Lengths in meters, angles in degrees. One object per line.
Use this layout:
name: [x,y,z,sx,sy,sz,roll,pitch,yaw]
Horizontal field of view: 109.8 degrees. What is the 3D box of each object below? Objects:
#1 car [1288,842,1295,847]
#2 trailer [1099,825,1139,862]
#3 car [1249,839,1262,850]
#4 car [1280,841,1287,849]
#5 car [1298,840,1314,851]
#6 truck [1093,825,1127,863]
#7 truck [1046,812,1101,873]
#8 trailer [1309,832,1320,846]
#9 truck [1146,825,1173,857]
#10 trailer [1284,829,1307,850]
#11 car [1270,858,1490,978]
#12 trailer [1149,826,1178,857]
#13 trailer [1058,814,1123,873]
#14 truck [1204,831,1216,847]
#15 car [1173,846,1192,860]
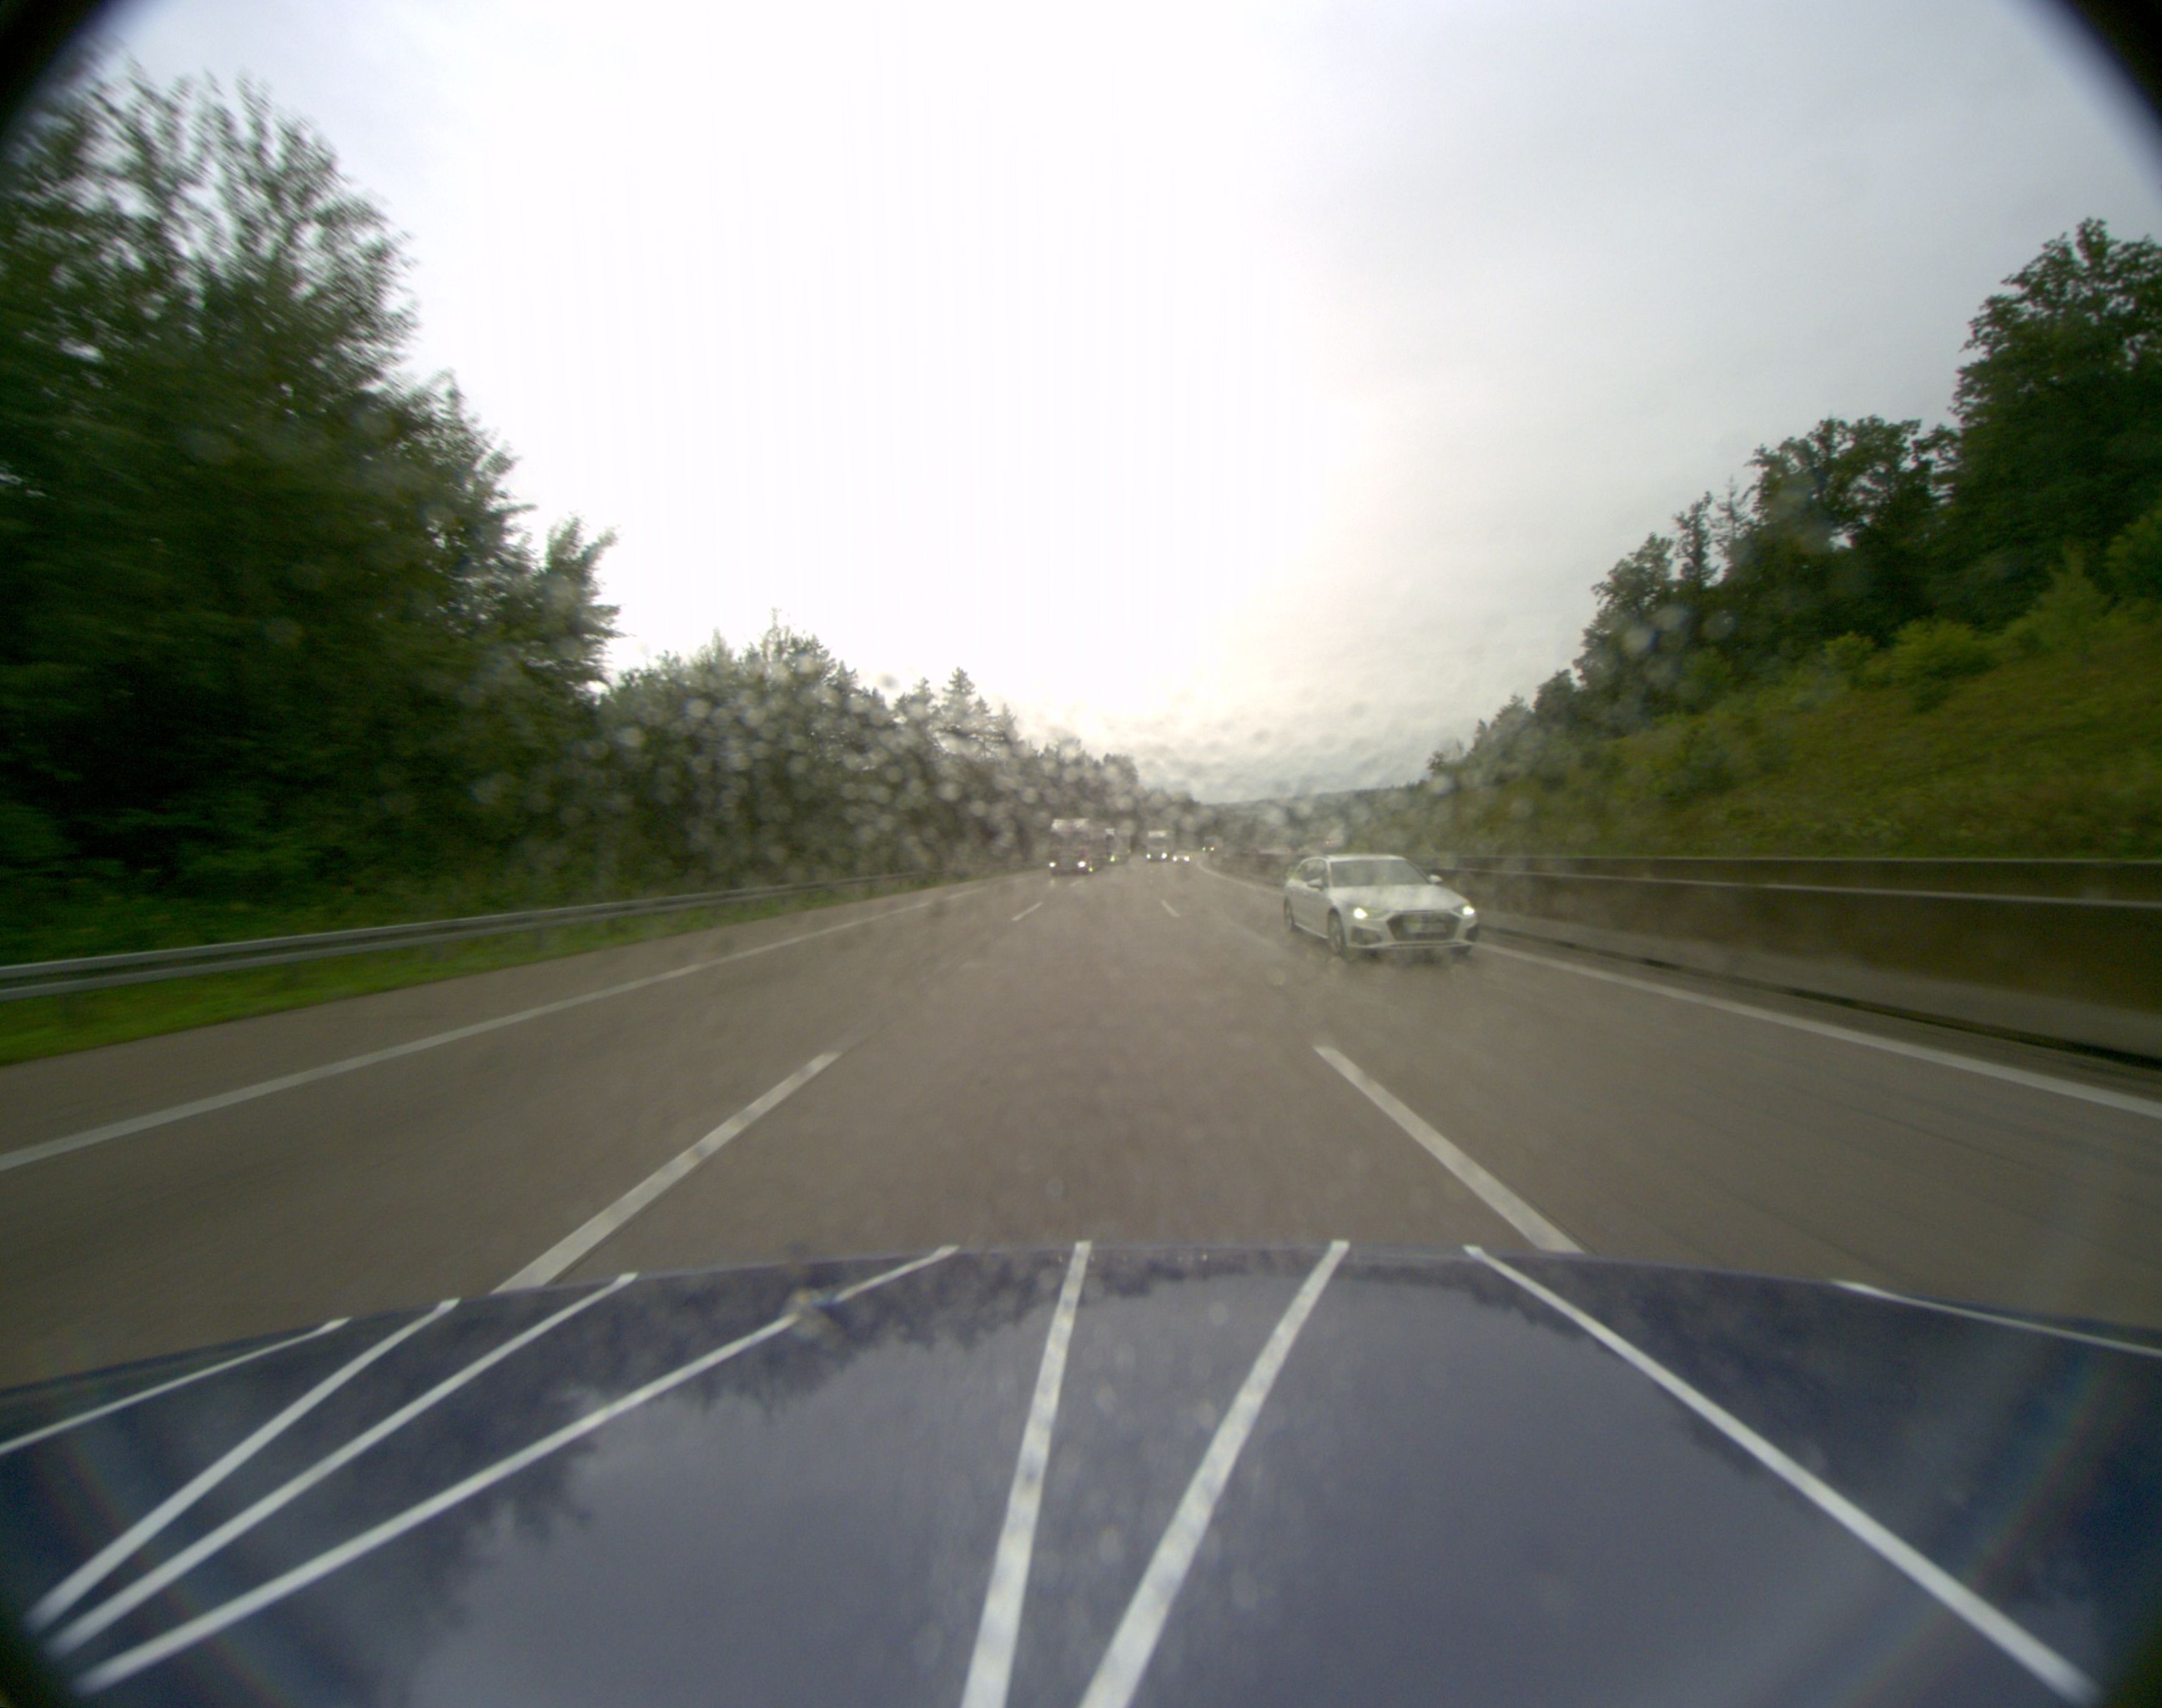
car: [67.816,-3.166,244.875,1.732,1.484,4.006,-1,1,21]
trailer: [4.757,-1.273,92.209,2.739,4.080,13.692,-1,1,12]
car: [29.712,-1.570,129.409,1.734,1.766,4.760,-1,1,7]
car: [50.986,-2.281,191.486,1.733,1.766,4.763,-1,1,15]
car: [34.105,-1.247,115.238,1.734,1.567,4.246,-1,1,9]
truck: [3.315,-1.165,85.407,2.803,4.080,5.972,-1,1,12]
truck: [-0.396,-0.752,53.576,2.379,3.930,6.165,-3,0,12]
trailer: [68.076,-4.497,221.710,2.930,3.938,13.479,-1,1,17]
truck: [10.540,-1.686,101.724,2.726,4.017,5.757,-3,0,12]
trailer: [41.610,-2.741,147.438,2.912,3.866,11.042,-1,1,9]
car: [4.379,0.823,12.032,1.716,1.399,4.936,-2,0,3]
trailer: [11.939,-1.769,108.782,2.684,4.017,13.715,-3,0,11]
trailer: [0.958,-0.726,59.344,2.374,3.930,12.532,-4,-1,12]
truck: [34.675,-3.898,203.849,2.735,4.127,8.629,-2,0,12]
car: [11.060,-0.125,82.650,1.849,1.474,4.451,-1,0,9]
